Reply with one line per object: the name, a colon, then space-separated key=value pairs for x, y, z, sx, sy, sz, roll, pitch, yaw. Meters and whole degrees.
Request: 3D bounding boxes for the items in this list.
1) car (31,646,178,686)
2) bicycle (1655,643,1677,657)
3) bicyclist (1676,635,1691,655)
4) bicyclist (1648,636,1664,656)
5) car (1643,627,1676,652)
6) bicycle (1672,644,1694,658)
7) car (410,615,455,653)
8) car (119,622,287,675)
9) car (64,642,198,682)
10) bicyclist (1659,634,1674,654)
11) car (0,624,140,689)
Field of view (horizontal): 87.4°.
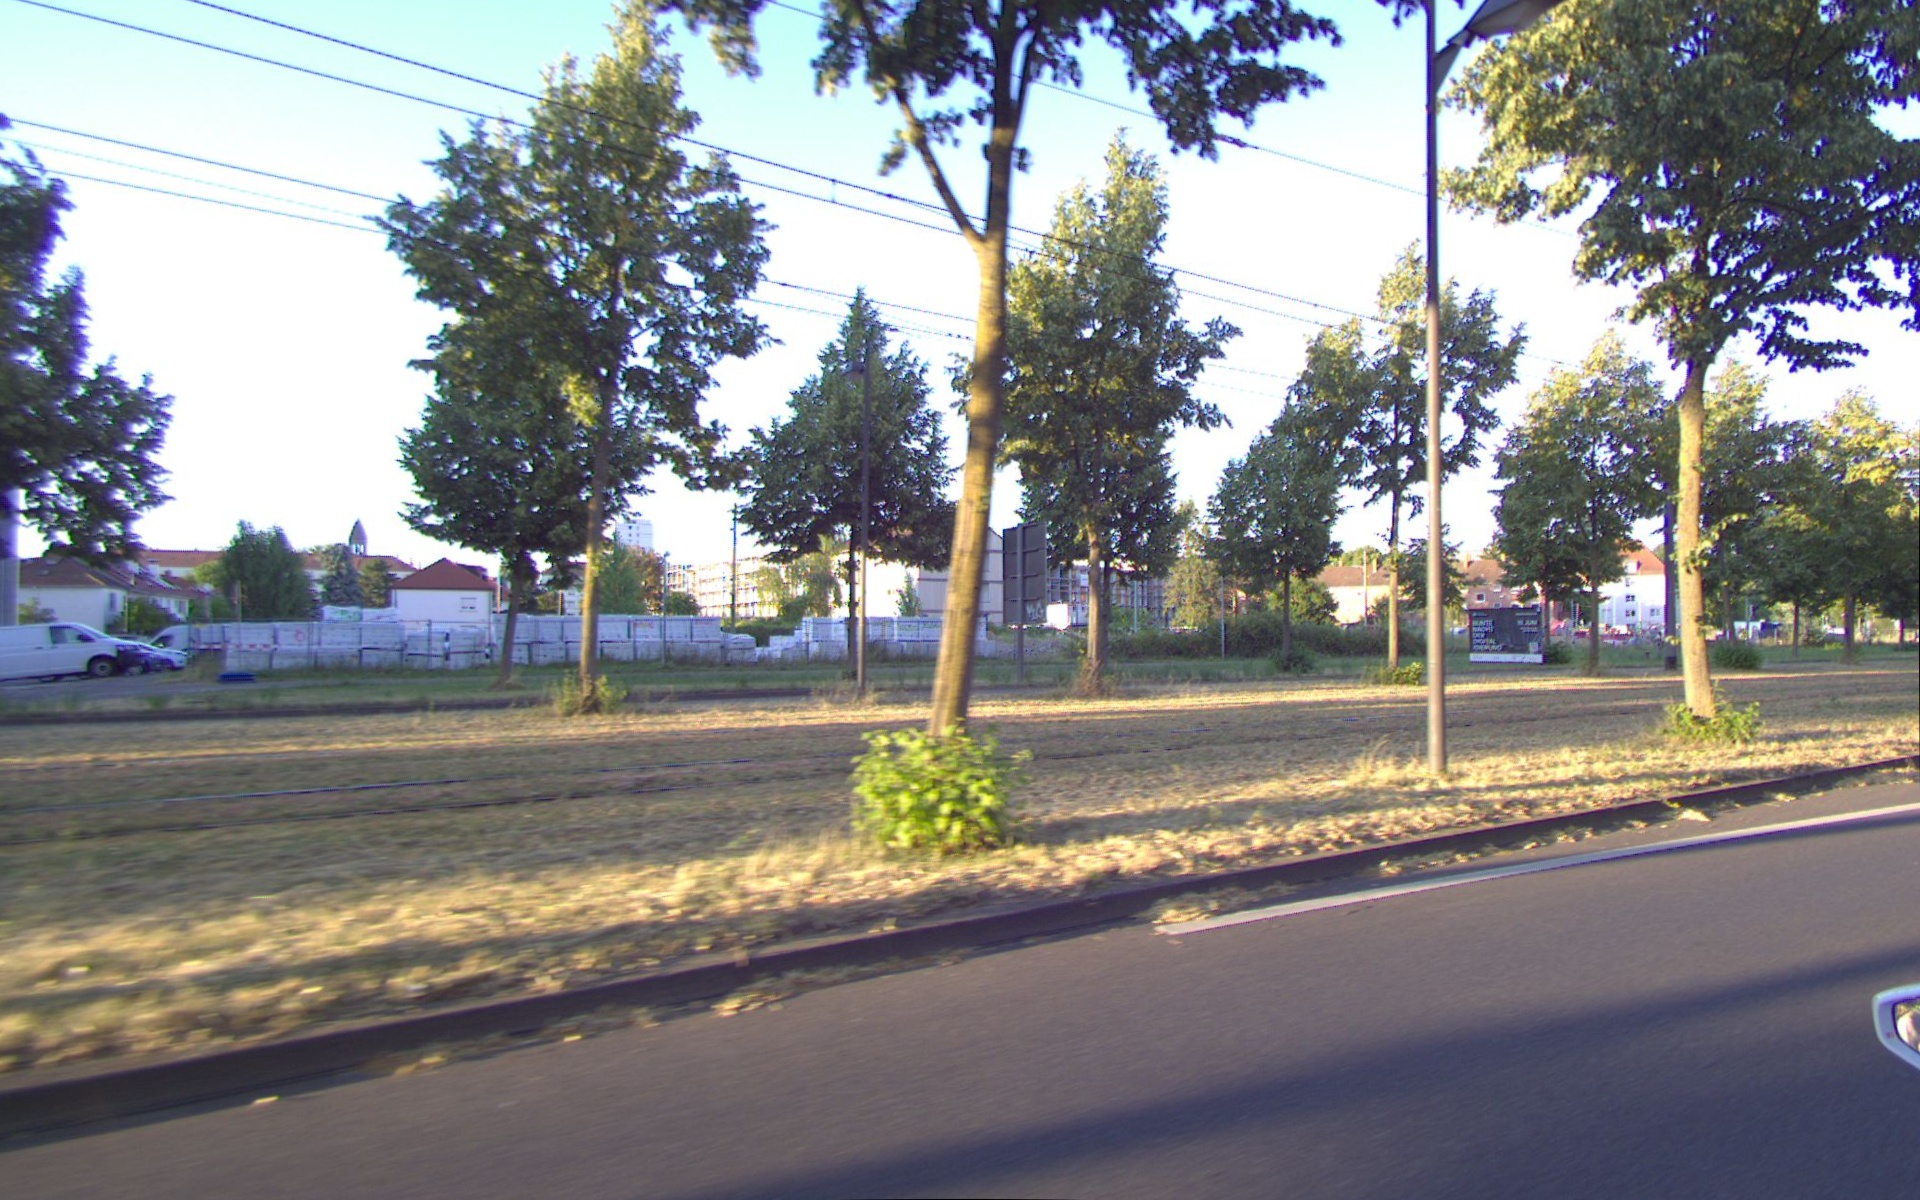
car: x=-32.526 y=2.477 z=38.348 sx=3.954 sy=1.437 sz=1.984 roll=1 pitch=-2 yaw=-31
bicycle: x=52.765 y=3.747 z=75.034 sx=2.061 sy=1.024 sz=0.615 roll=1 pitch=-2 yaw=-33
bicyclist: x=53.706 y=3.354 z=74.528 sx=0.927 sy=1.475 sz=0.615 roll=1 pitch=-2 yaw=-33
bicyclist: x=51.110 y=3.387 z=73.749 sx=0.927 sy=1.440 sz=0.615 roll=1 pitch=-2 yaw=-33
car: x=65.521 y=3.709 z=94.112 sx=2.383 sy=2.254 sz=5.900 roll=-1 pitch=-2 yaw=35
bicycle: x=53.588 y=3.766 z=74.434 sx=2.061 sy=1.024 sz=0.615 roll=1 pitch=-2 yaw=-33
car: x=-38.566 y=2.497 z=73.391 sx=2.291 sy=2.717 sz=6.159 roll=1 pitch=-2 yaw=-34
car: x=-42.122 y=2.673 z=56.201 sx=7.228 sy=2.802 sz=2.455 roll=1 pitch=-2 yaw=-32
car: x=-33.859 y=2.521 z=41.182 sx=3.954 sy=1.529 sz=1.984 roll=1 pitch=-2 yaw=-31
bicyclist: x=52.765 y=3.278 z=75.044 sx=0.927 sy=1.475 sz=0.615 roll=1 pitch=-2 yaw=-33
car: x=-30.481 y=1.834 z=33.118 sx=5.025 sy=2.040 sz=2.196 roll=1 pitch=-2 yaw=-31
